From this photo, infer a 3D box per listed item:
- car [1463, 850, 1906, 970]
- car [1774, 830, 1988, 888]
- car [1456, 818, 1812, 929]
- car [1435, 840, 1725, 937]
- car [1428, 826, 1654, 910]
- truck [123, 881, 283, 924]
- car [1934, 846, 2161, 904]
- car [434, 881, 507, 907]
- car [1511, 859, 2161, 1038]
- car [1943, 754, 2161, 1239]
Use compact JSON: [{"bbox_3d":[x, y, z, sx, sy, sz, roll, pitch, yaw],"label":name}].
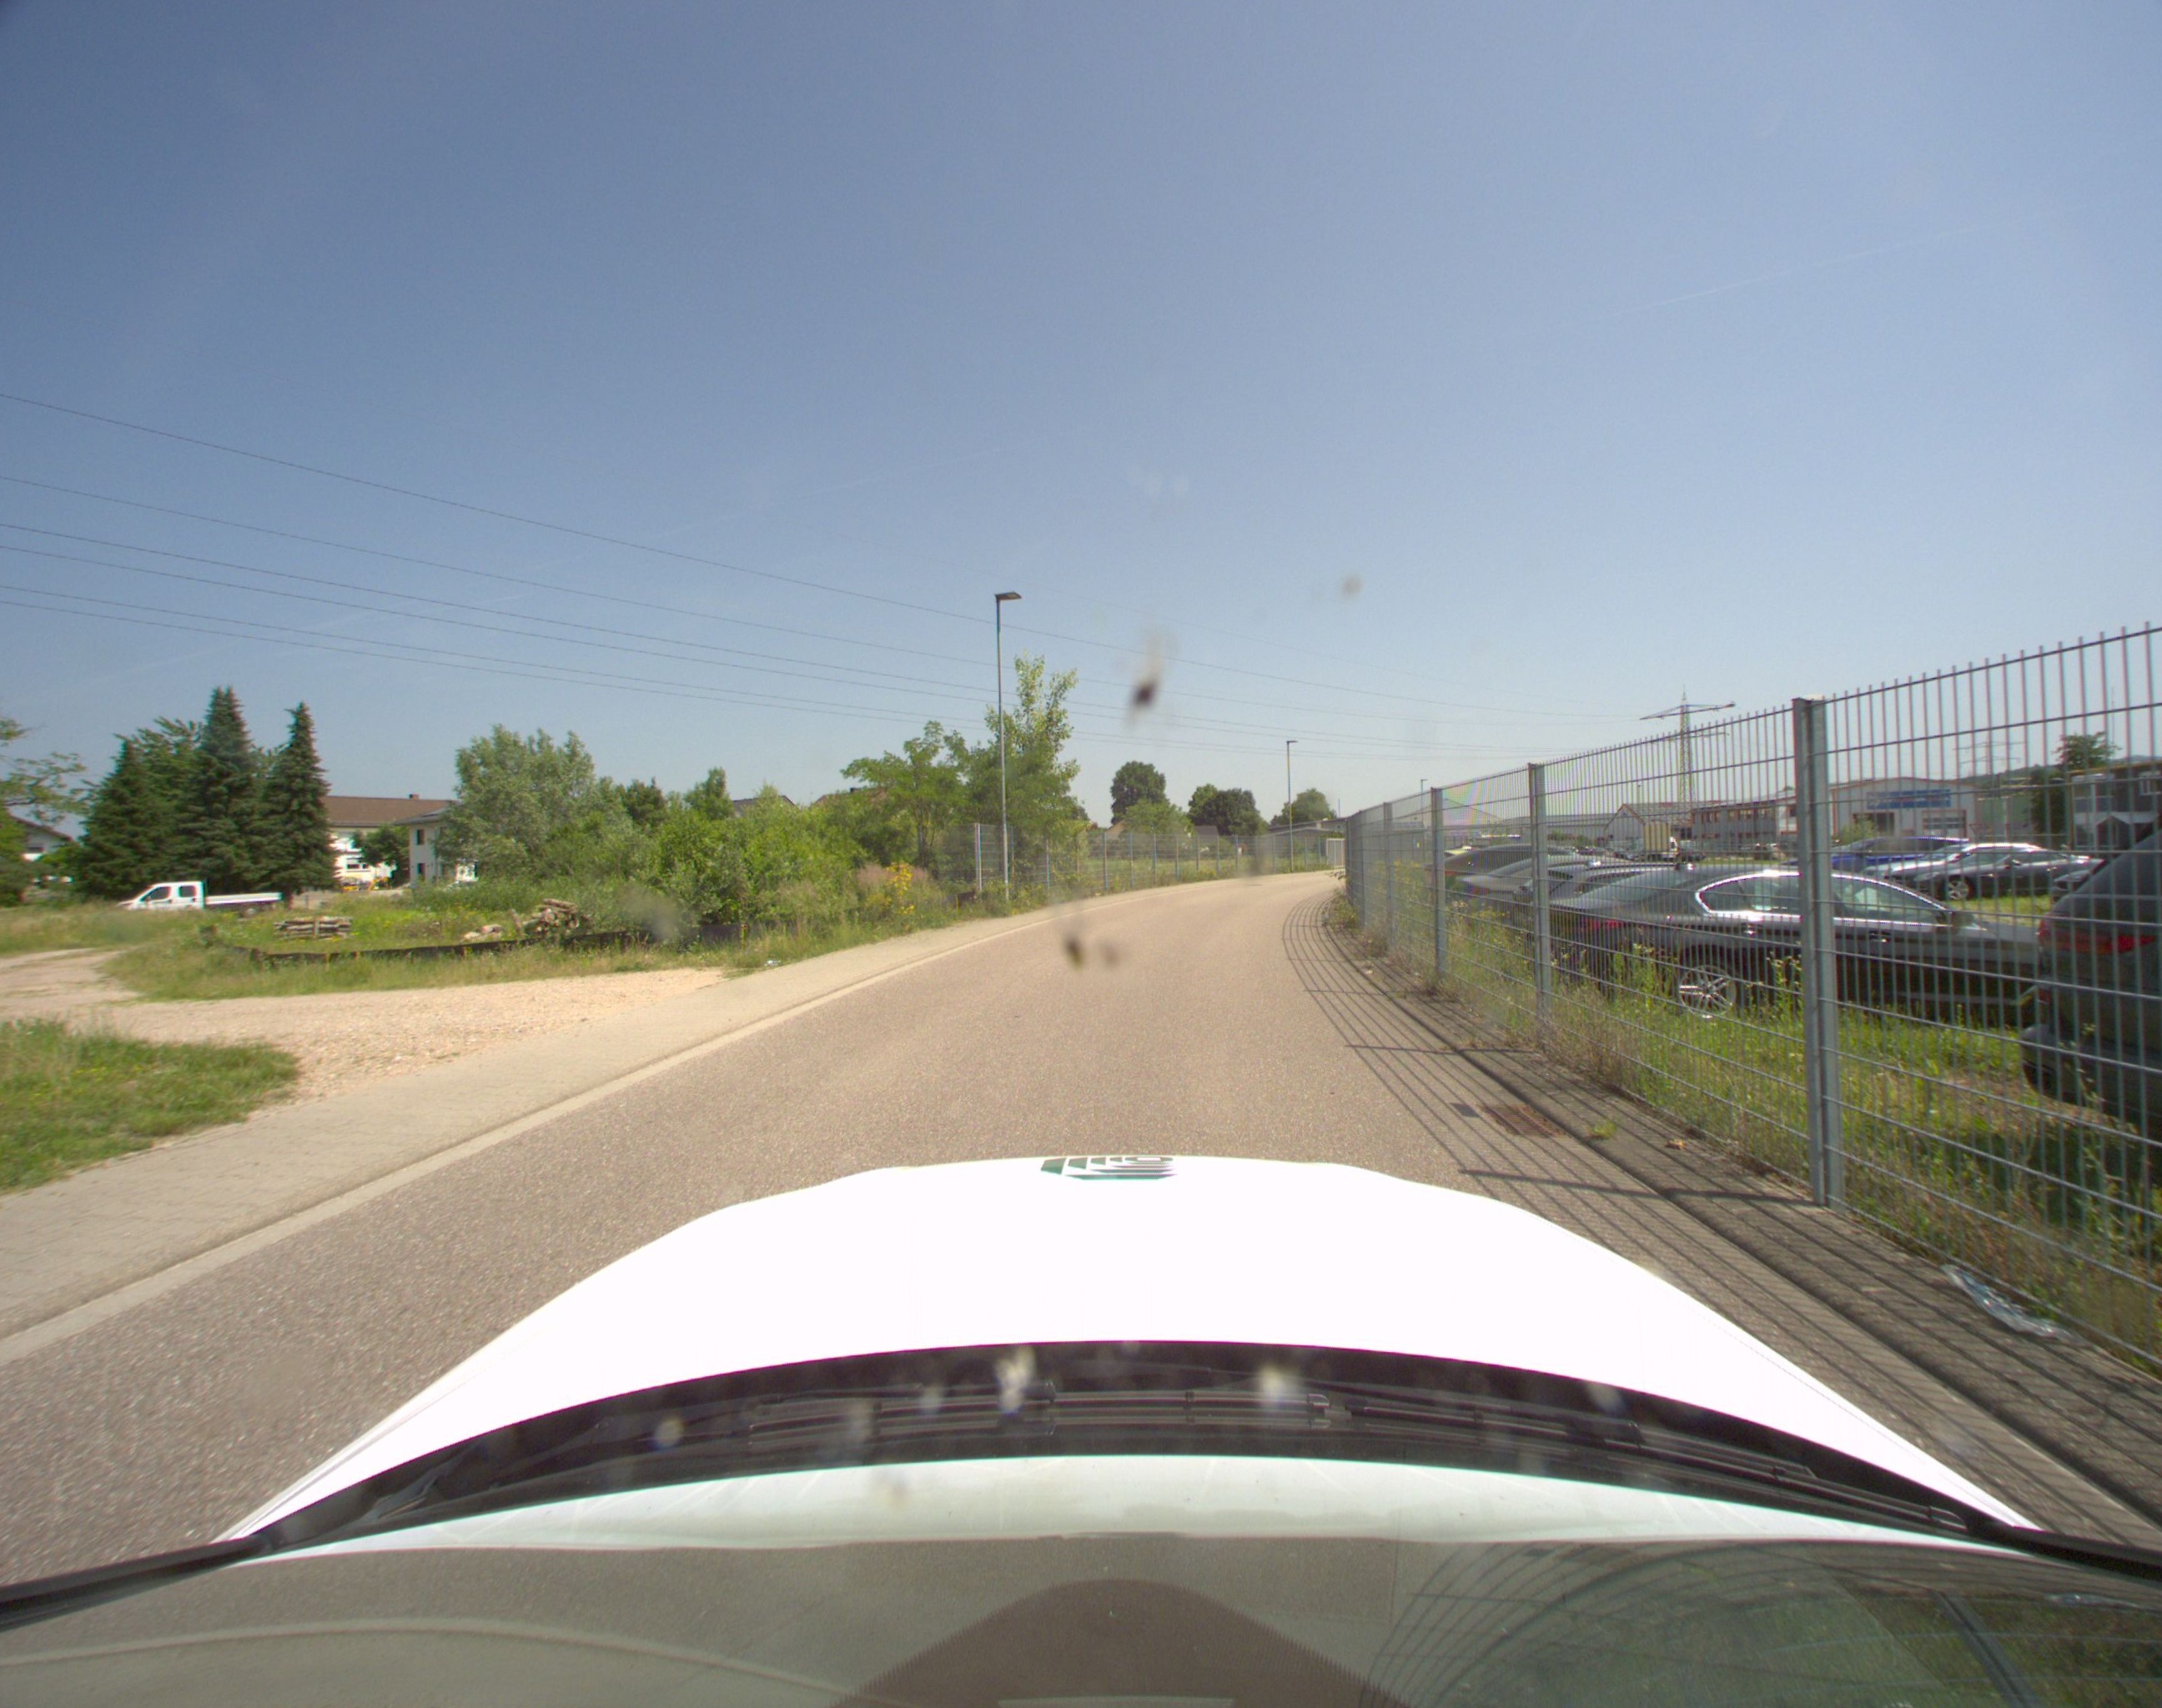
[{"bbox_3d":[7.724,0.722,10.909,4.438,1.381,1.729,-2,0,13],"label":"car"},{"bbox_3d":[25.154,0.165,25.839,4.421,1.649,1.889,-2,0,24],"label":"car"},{"bbox_3d":[8.654,0.331,13.236,4.433,1.582,1.805,-2,0,18],"label":"car"},{"bbox_3d":[9.227,0.645,15.523,4.430,1.669,1.732,-2,0,21],"label":"car"},{"bbox_3d":[9.875,0.318,17.871,4.086,1.669,1.732,-2,0,21],"label":"car"},{"bbox_3d":[-49.525,2.666,46.091,2.093,2.010,5.928,-2,0,36],"label":"truck"},{"bbox_3d":[24.250,0.525,20.322,3.730,1.301,1.620,-2,0,19],"label":"car"},{"bbox_3d":[-47.535,3.075,63.483,1.975,1.694,4.282,-2,0,44],"label":"car"},{"bbox_3d":[6.741,0.758,7.729,4.433,1.381,1.729,0,1,13],"label":"car"},{"bbox_3d":[6.235,0.441,2.674,4.662,1.769,1.745,-2,0,5],"label":"car"}]
